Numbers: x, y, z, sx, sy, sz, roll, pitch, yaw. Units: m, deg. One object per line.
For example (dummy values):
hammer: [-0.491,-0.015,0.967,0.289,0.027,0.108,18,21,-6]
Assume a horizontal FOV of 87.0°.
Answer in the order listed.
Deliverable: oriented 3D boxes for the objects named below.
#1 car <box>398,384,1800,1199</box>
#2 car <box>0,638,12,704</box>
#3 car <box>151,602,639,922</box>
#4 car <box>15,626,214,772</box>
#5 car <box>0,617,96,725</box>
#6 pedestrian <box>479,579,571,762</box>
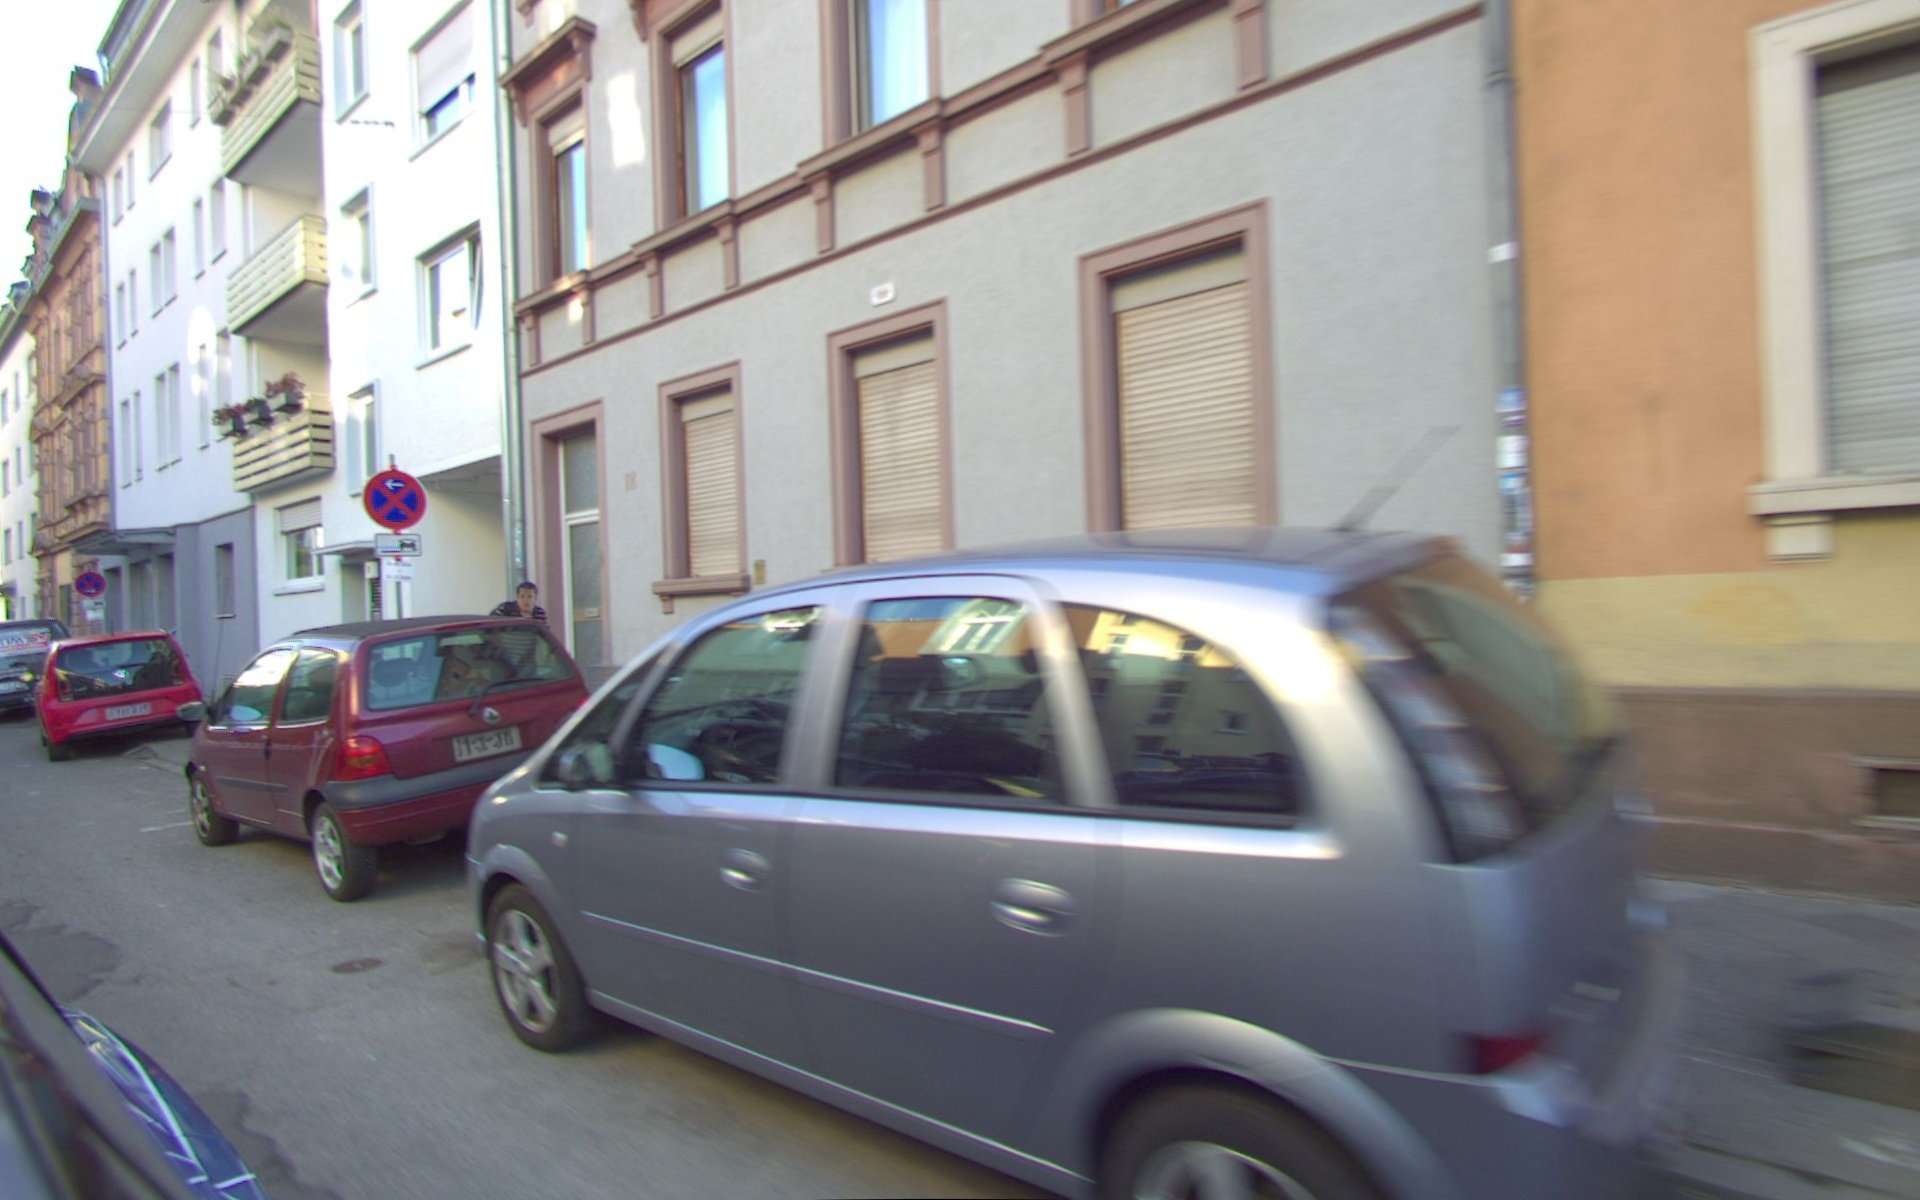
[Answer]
car: [0.021,0.587,3.173,3.975,1.656,1.695,-3,2,40]
car: [-25.540,1.837,25.637,4.011,1.611,1.723,-3,0,40]
car: [-3.818,0.859,6.671,3.283,1.458,1.641,-3,3,40]
car: [-11.430,1.218,13.596,1.650,1.496,3.608,-8,4,-44]
car: [-18.613,1.362,19.659,4.580,1.872,1.974,-3,0,39]
pedestrian: [-4.124,0.643,9.590,0.665,1.650,0.490,-3,1,41]
